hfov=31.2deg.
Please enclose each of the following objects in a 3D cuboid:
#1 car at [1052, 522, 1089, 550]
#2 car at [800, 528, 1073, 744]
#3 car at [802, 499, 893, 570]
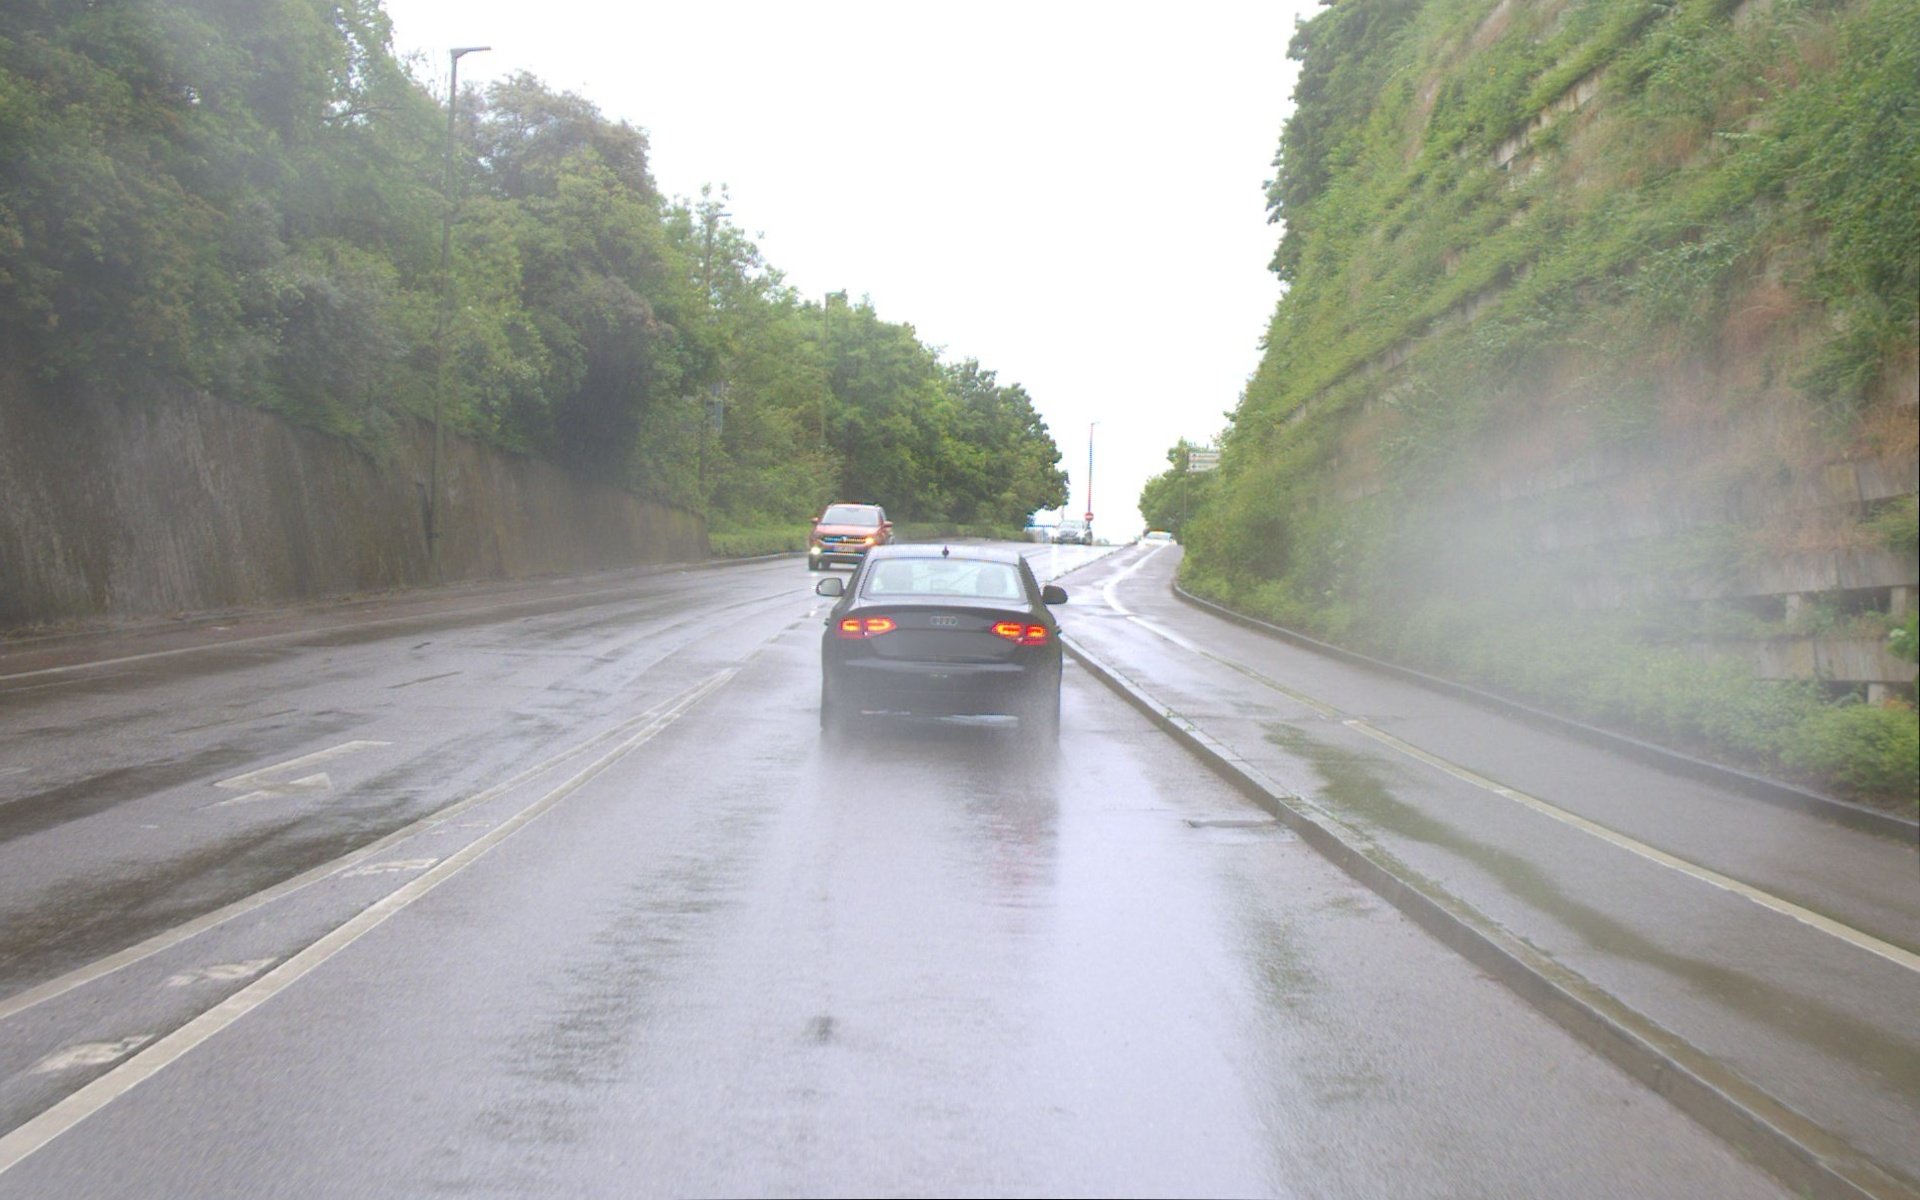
[{"bbox_3d":[5.795,-3.336,179.596,1.865,1.444,4.377,0,1,2],"label":"car"},{"bbox_3d":[-0.105,0.238,26.391,1.893,1.487,4.207,-1,0,2],"label":"car"},{"bbox_3d":[-2.640,-1.549,81.549,1.733,1.612,4.000,1,1,4],"label":"car"}]
